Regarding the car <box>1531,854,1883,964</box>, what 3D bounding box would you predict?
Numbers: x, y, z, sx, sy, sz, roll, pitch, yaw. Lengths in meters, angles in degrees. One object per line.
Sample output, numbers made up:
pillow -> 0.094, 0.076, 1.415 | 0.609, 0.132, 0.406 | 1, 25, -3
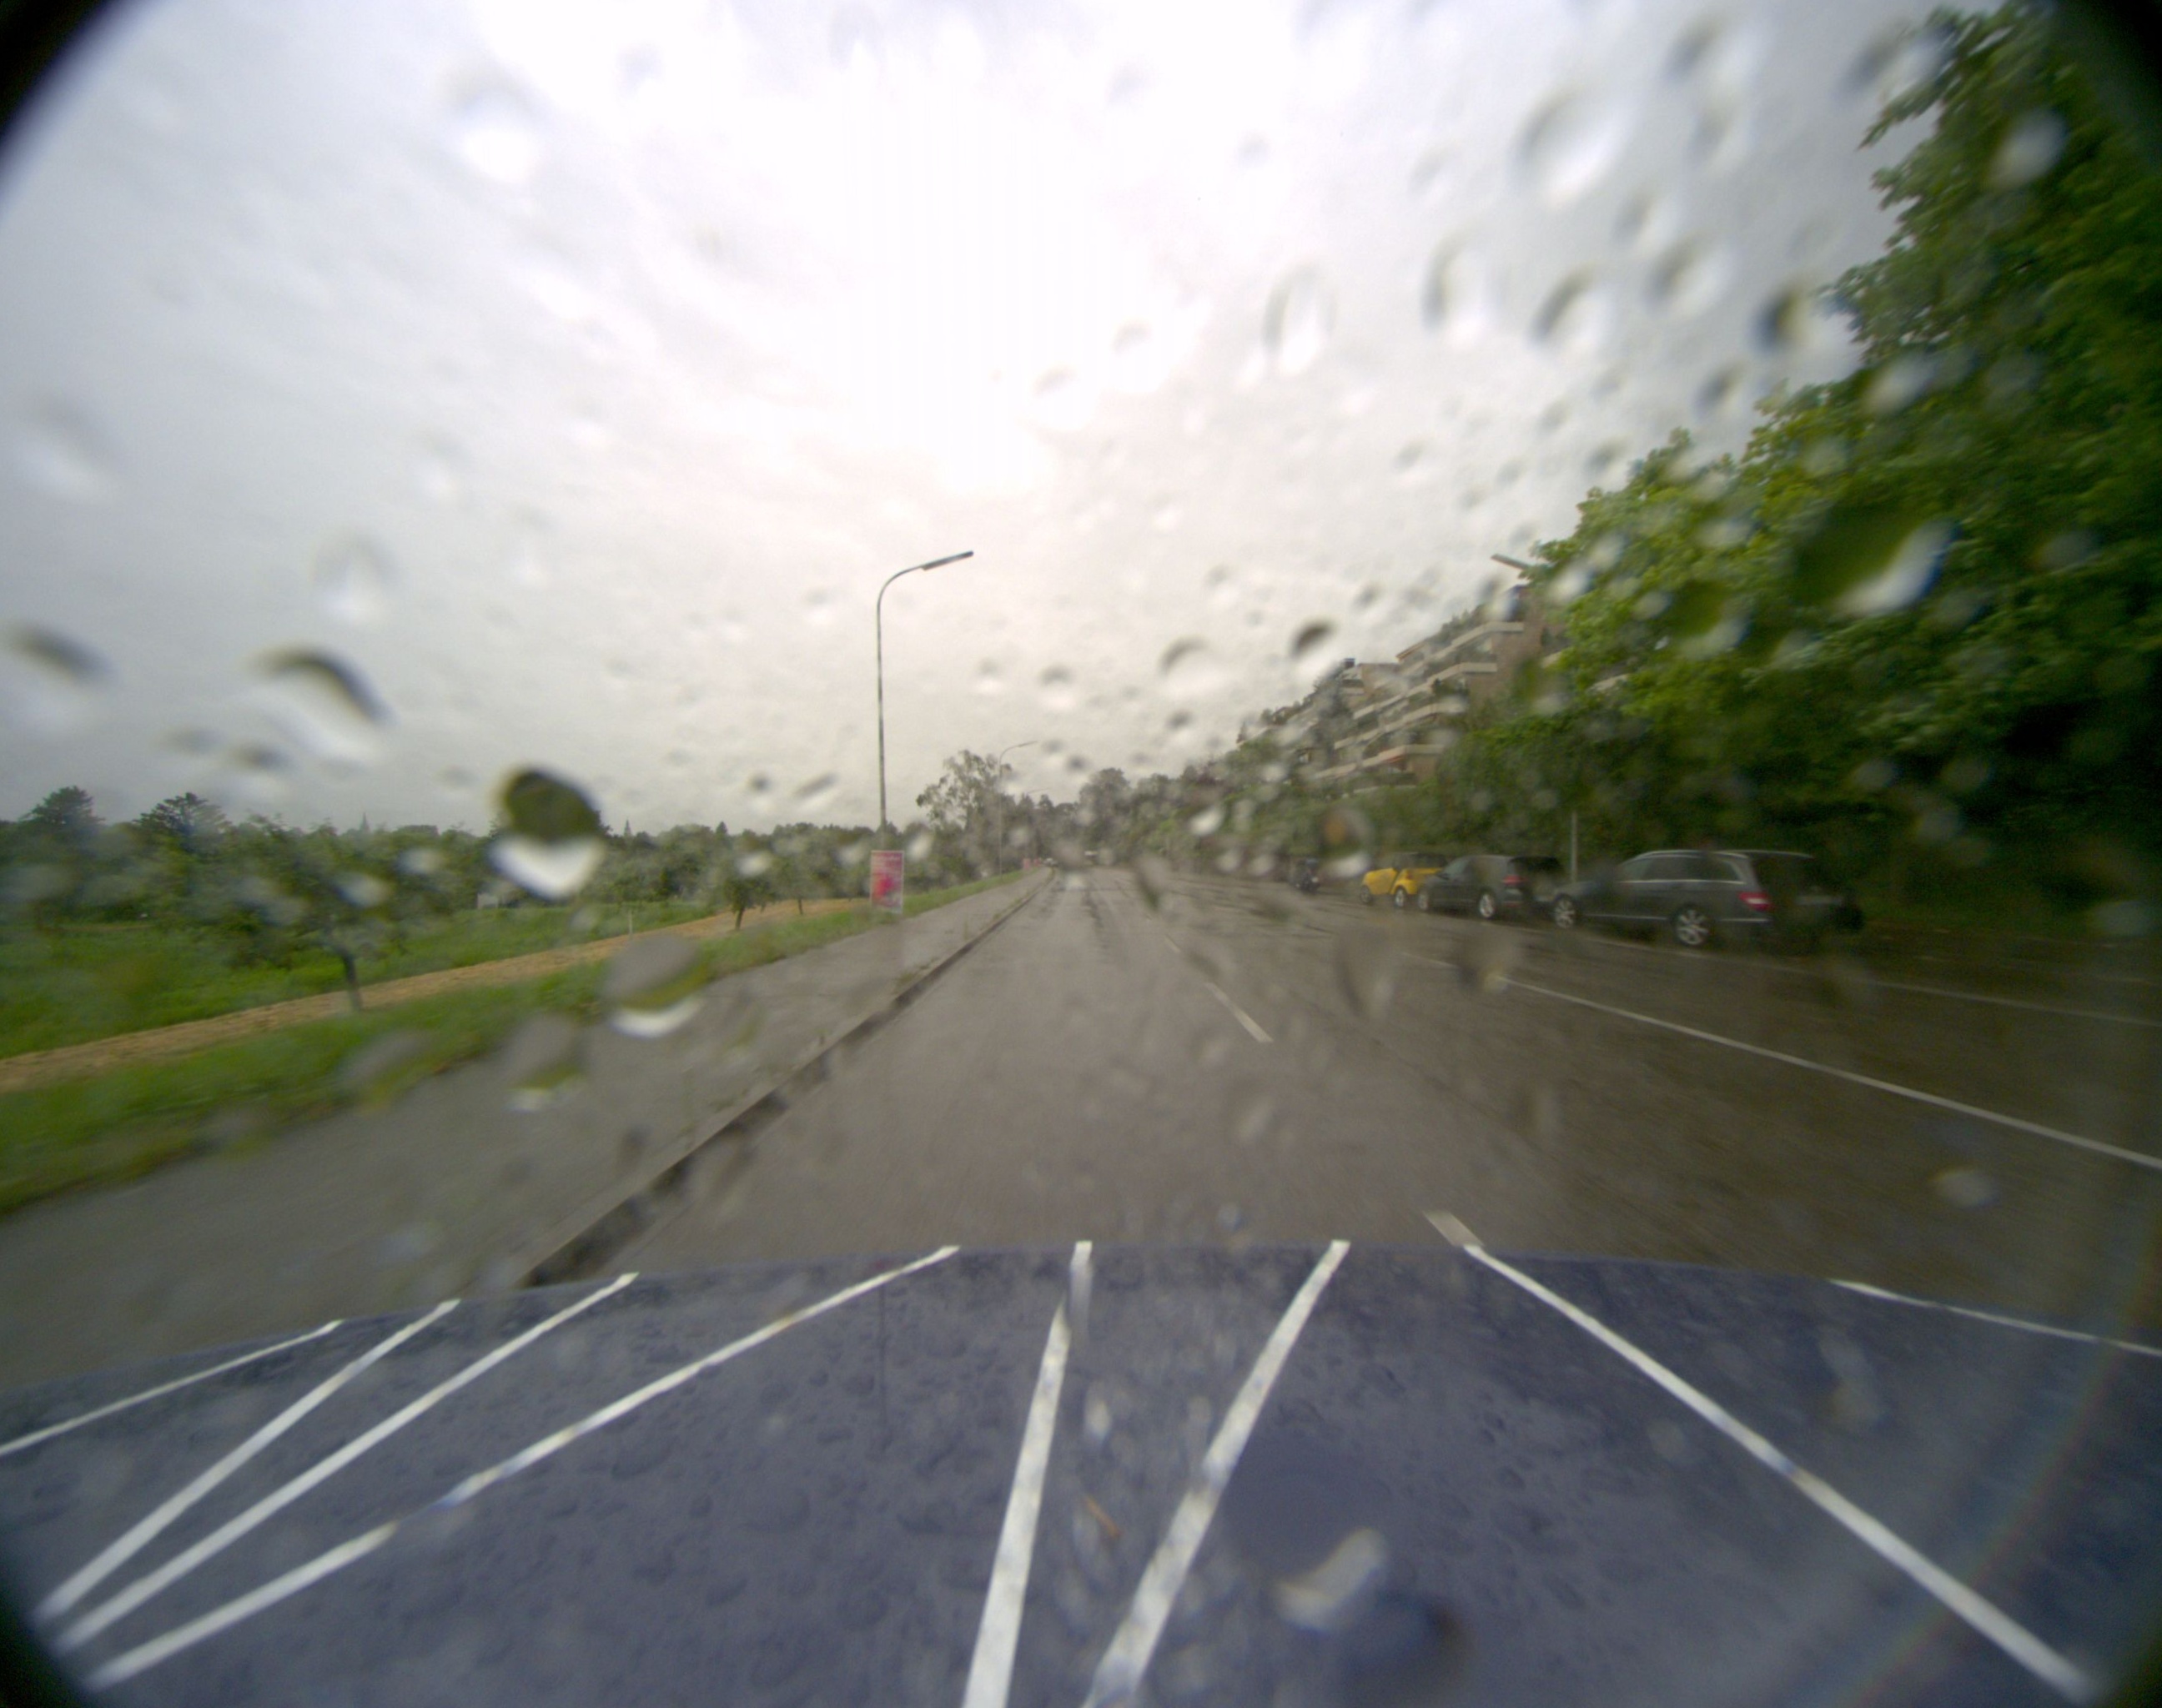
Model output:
car -> 9.674, 0.731, 12.398 | 1.691, 1.411, 4.740 | -1, 0, -3

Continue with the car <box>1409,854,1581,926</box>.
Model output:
car -> 9.325, 0.731, 17.505 | 1.437, 1.411, 4.101 | -1, 0, -5

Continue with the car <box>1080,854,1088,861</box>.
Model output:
car -> 0.715, 0.854, 194.475 | 1.853, 1.583, 3.704 | -2, 0, -3

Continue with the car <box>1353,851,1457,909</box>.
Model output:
car -> 9.147, 0.686, 21.666 | 1.438, 1.528, 2.817 | -1, 0, -9

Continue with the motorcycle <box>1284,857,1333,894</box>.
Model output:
motorcycle -> 8.538, 0.782, 28.637 | 0.840, 1.333, 2.497 | -1, 0, -7

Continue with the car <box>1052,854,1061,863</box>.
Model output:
car -> -5.416, 0.971, 167.450 | 1.999, 2.001, 4.000 | -1, -1, -2

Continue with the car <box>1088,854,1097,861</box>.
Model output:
car -> 2.567, 0.906, 176.661 | 1.853, 1.583, 3.704 | -2, 0, -3

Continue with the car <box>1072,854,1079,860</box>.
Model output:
car -> -1.572, 0.955, 211.771 | 1.853, 1.583, 3.704 | -2, 0, -3

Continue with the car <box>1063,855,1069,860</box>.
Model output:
car -> -4.239, 0.882, 212.112 | 1.597, 1.433, 3.703 | 1, 0, -3
